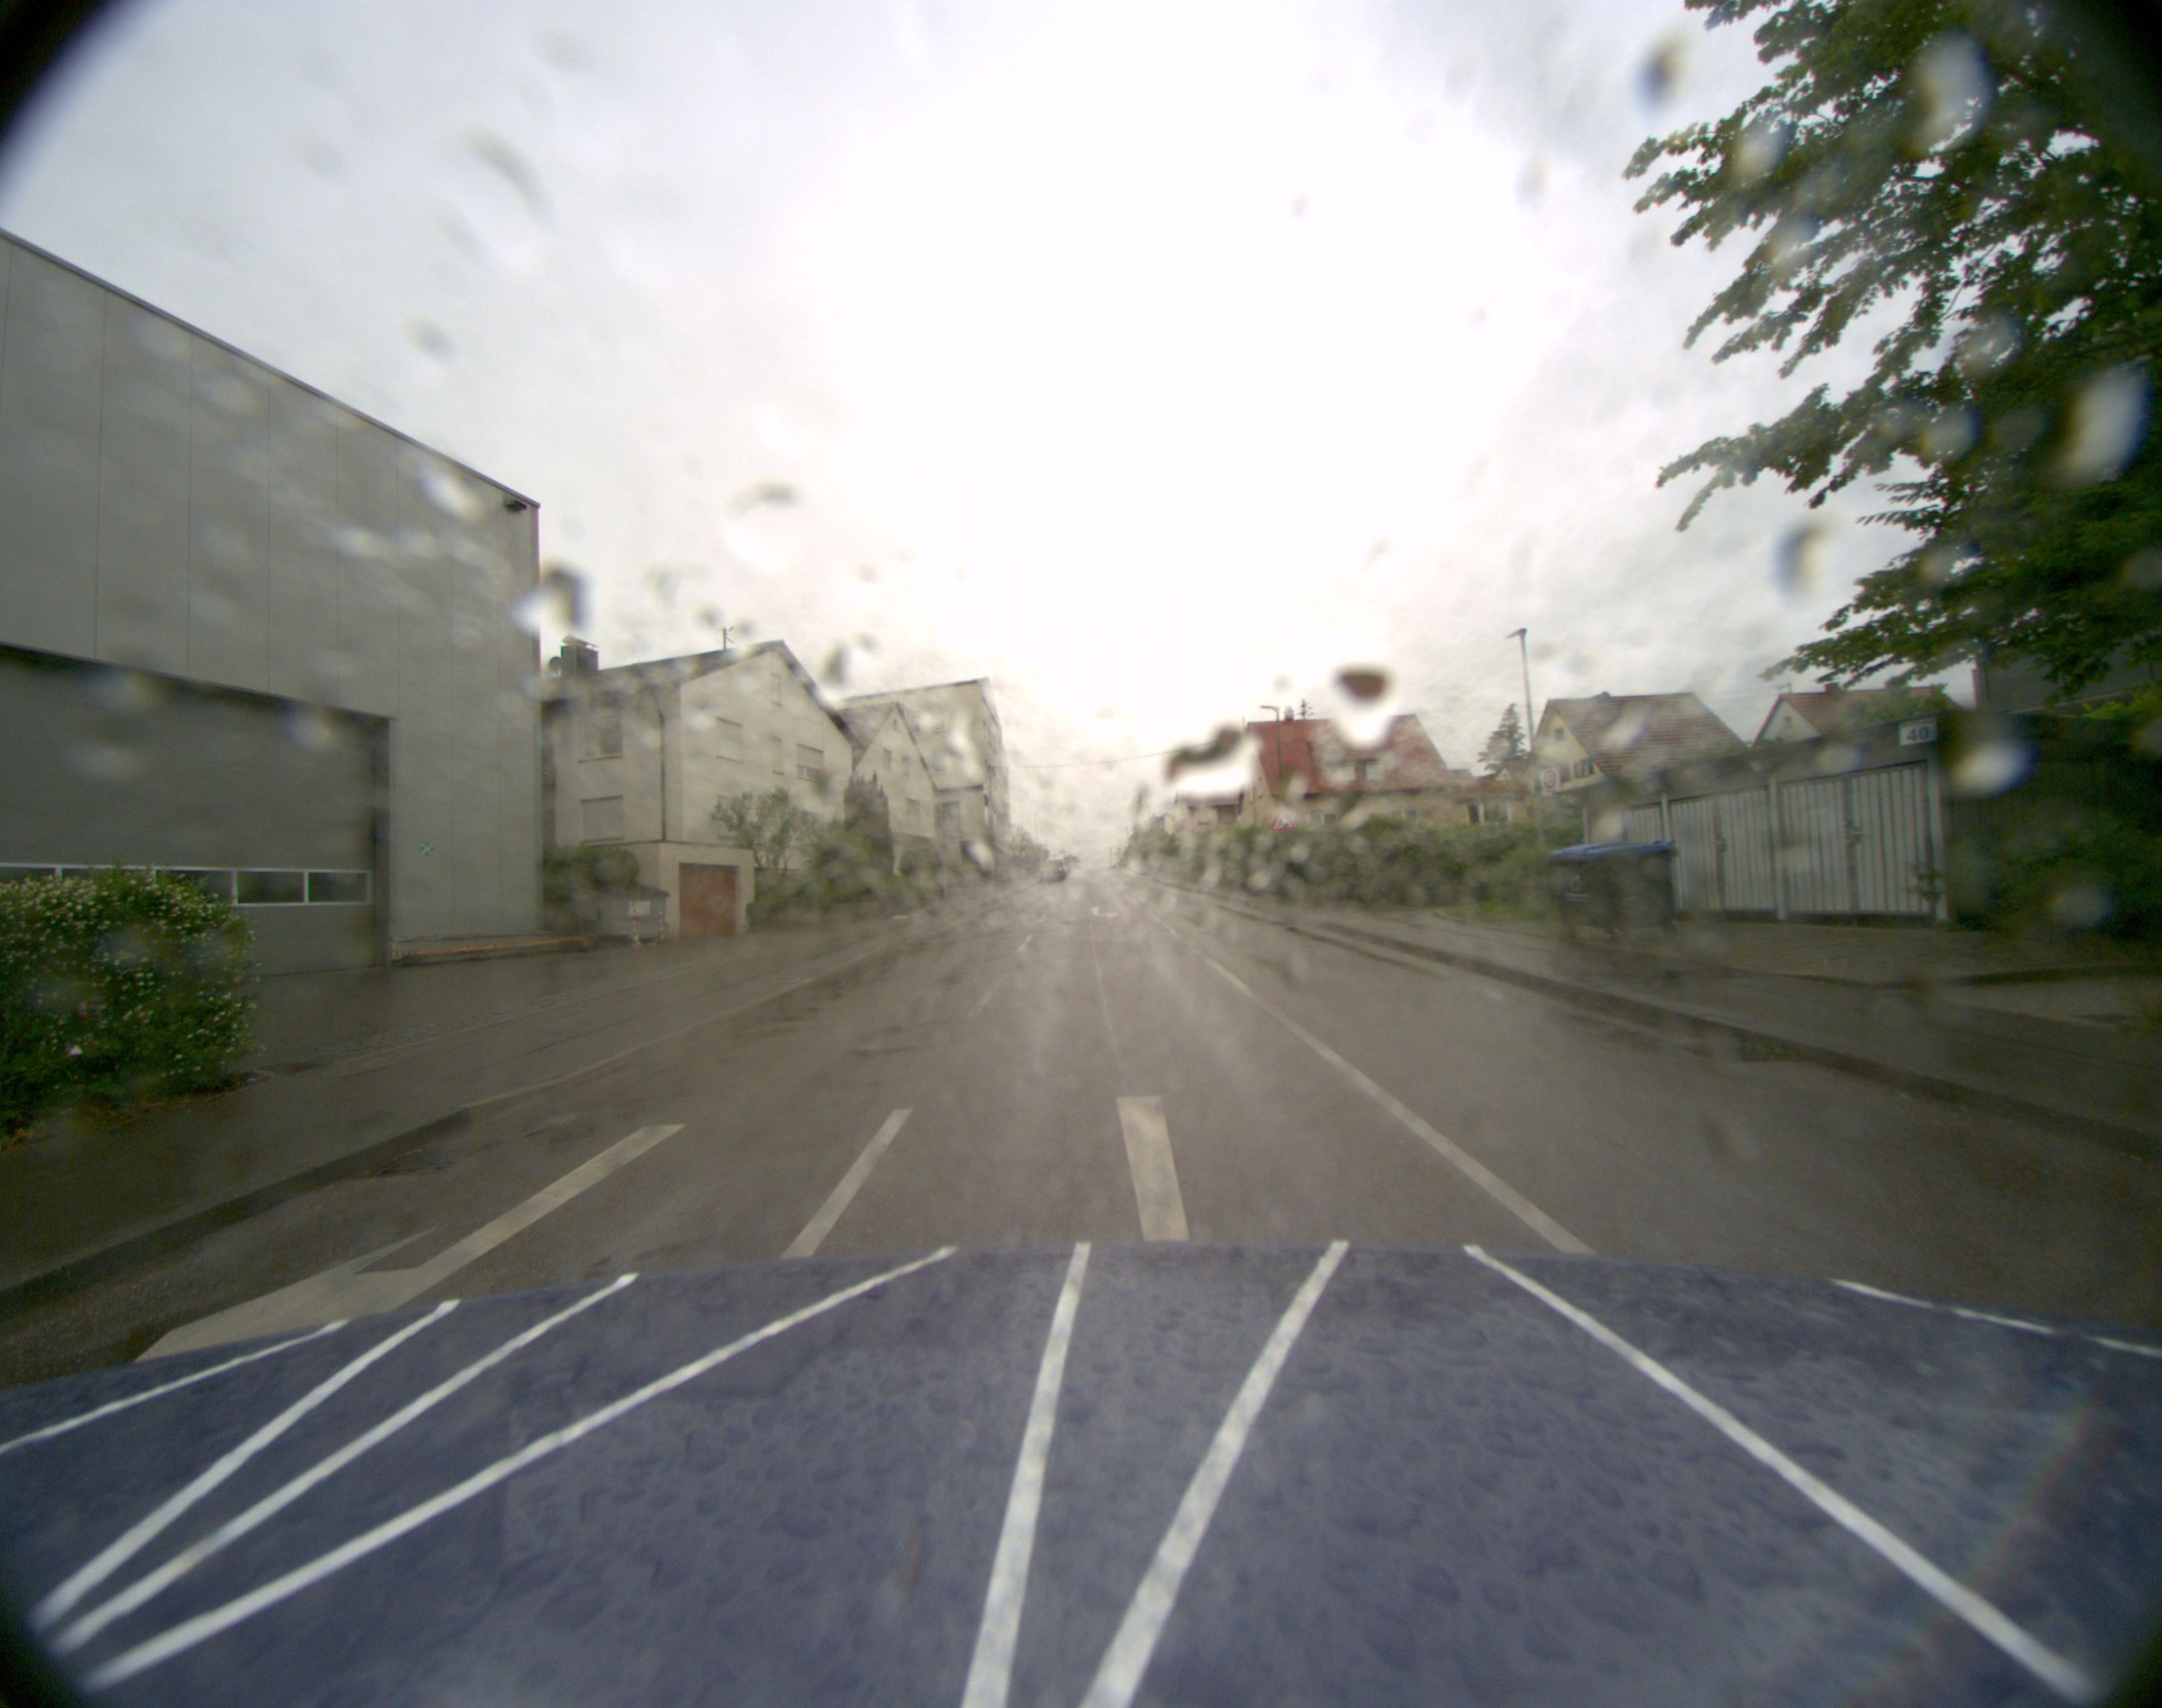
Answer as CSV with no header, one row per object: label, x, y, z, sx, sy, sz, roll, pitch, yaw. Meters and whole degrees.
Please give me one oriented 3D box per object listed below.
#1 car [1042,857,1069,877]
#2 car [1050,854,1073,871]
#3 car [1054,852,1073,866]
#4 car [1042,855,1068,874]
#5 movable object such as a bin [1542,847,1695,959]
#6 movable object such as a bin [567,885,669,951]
car,-1.996,1.018,61.025,1.848,1.514,4.001,-2,0,2
car,-1.858,0.775,73.154,1.848,1.514,4.001,-2,0,2
car,-1.932,0.578,85.646,1.848,1.514,4.001,-2,0,2
car,-2.205,0.865,65.605,1.848,1.514,4.001,-2,0,2
movable object such as a bin,7.148,0.628,10.197,1.056,1.289,1.202,-7,-1,1
movable object such as a bin,-11.550,1.586,19.008,1.446,1.526,1.591,-2,-1,16
